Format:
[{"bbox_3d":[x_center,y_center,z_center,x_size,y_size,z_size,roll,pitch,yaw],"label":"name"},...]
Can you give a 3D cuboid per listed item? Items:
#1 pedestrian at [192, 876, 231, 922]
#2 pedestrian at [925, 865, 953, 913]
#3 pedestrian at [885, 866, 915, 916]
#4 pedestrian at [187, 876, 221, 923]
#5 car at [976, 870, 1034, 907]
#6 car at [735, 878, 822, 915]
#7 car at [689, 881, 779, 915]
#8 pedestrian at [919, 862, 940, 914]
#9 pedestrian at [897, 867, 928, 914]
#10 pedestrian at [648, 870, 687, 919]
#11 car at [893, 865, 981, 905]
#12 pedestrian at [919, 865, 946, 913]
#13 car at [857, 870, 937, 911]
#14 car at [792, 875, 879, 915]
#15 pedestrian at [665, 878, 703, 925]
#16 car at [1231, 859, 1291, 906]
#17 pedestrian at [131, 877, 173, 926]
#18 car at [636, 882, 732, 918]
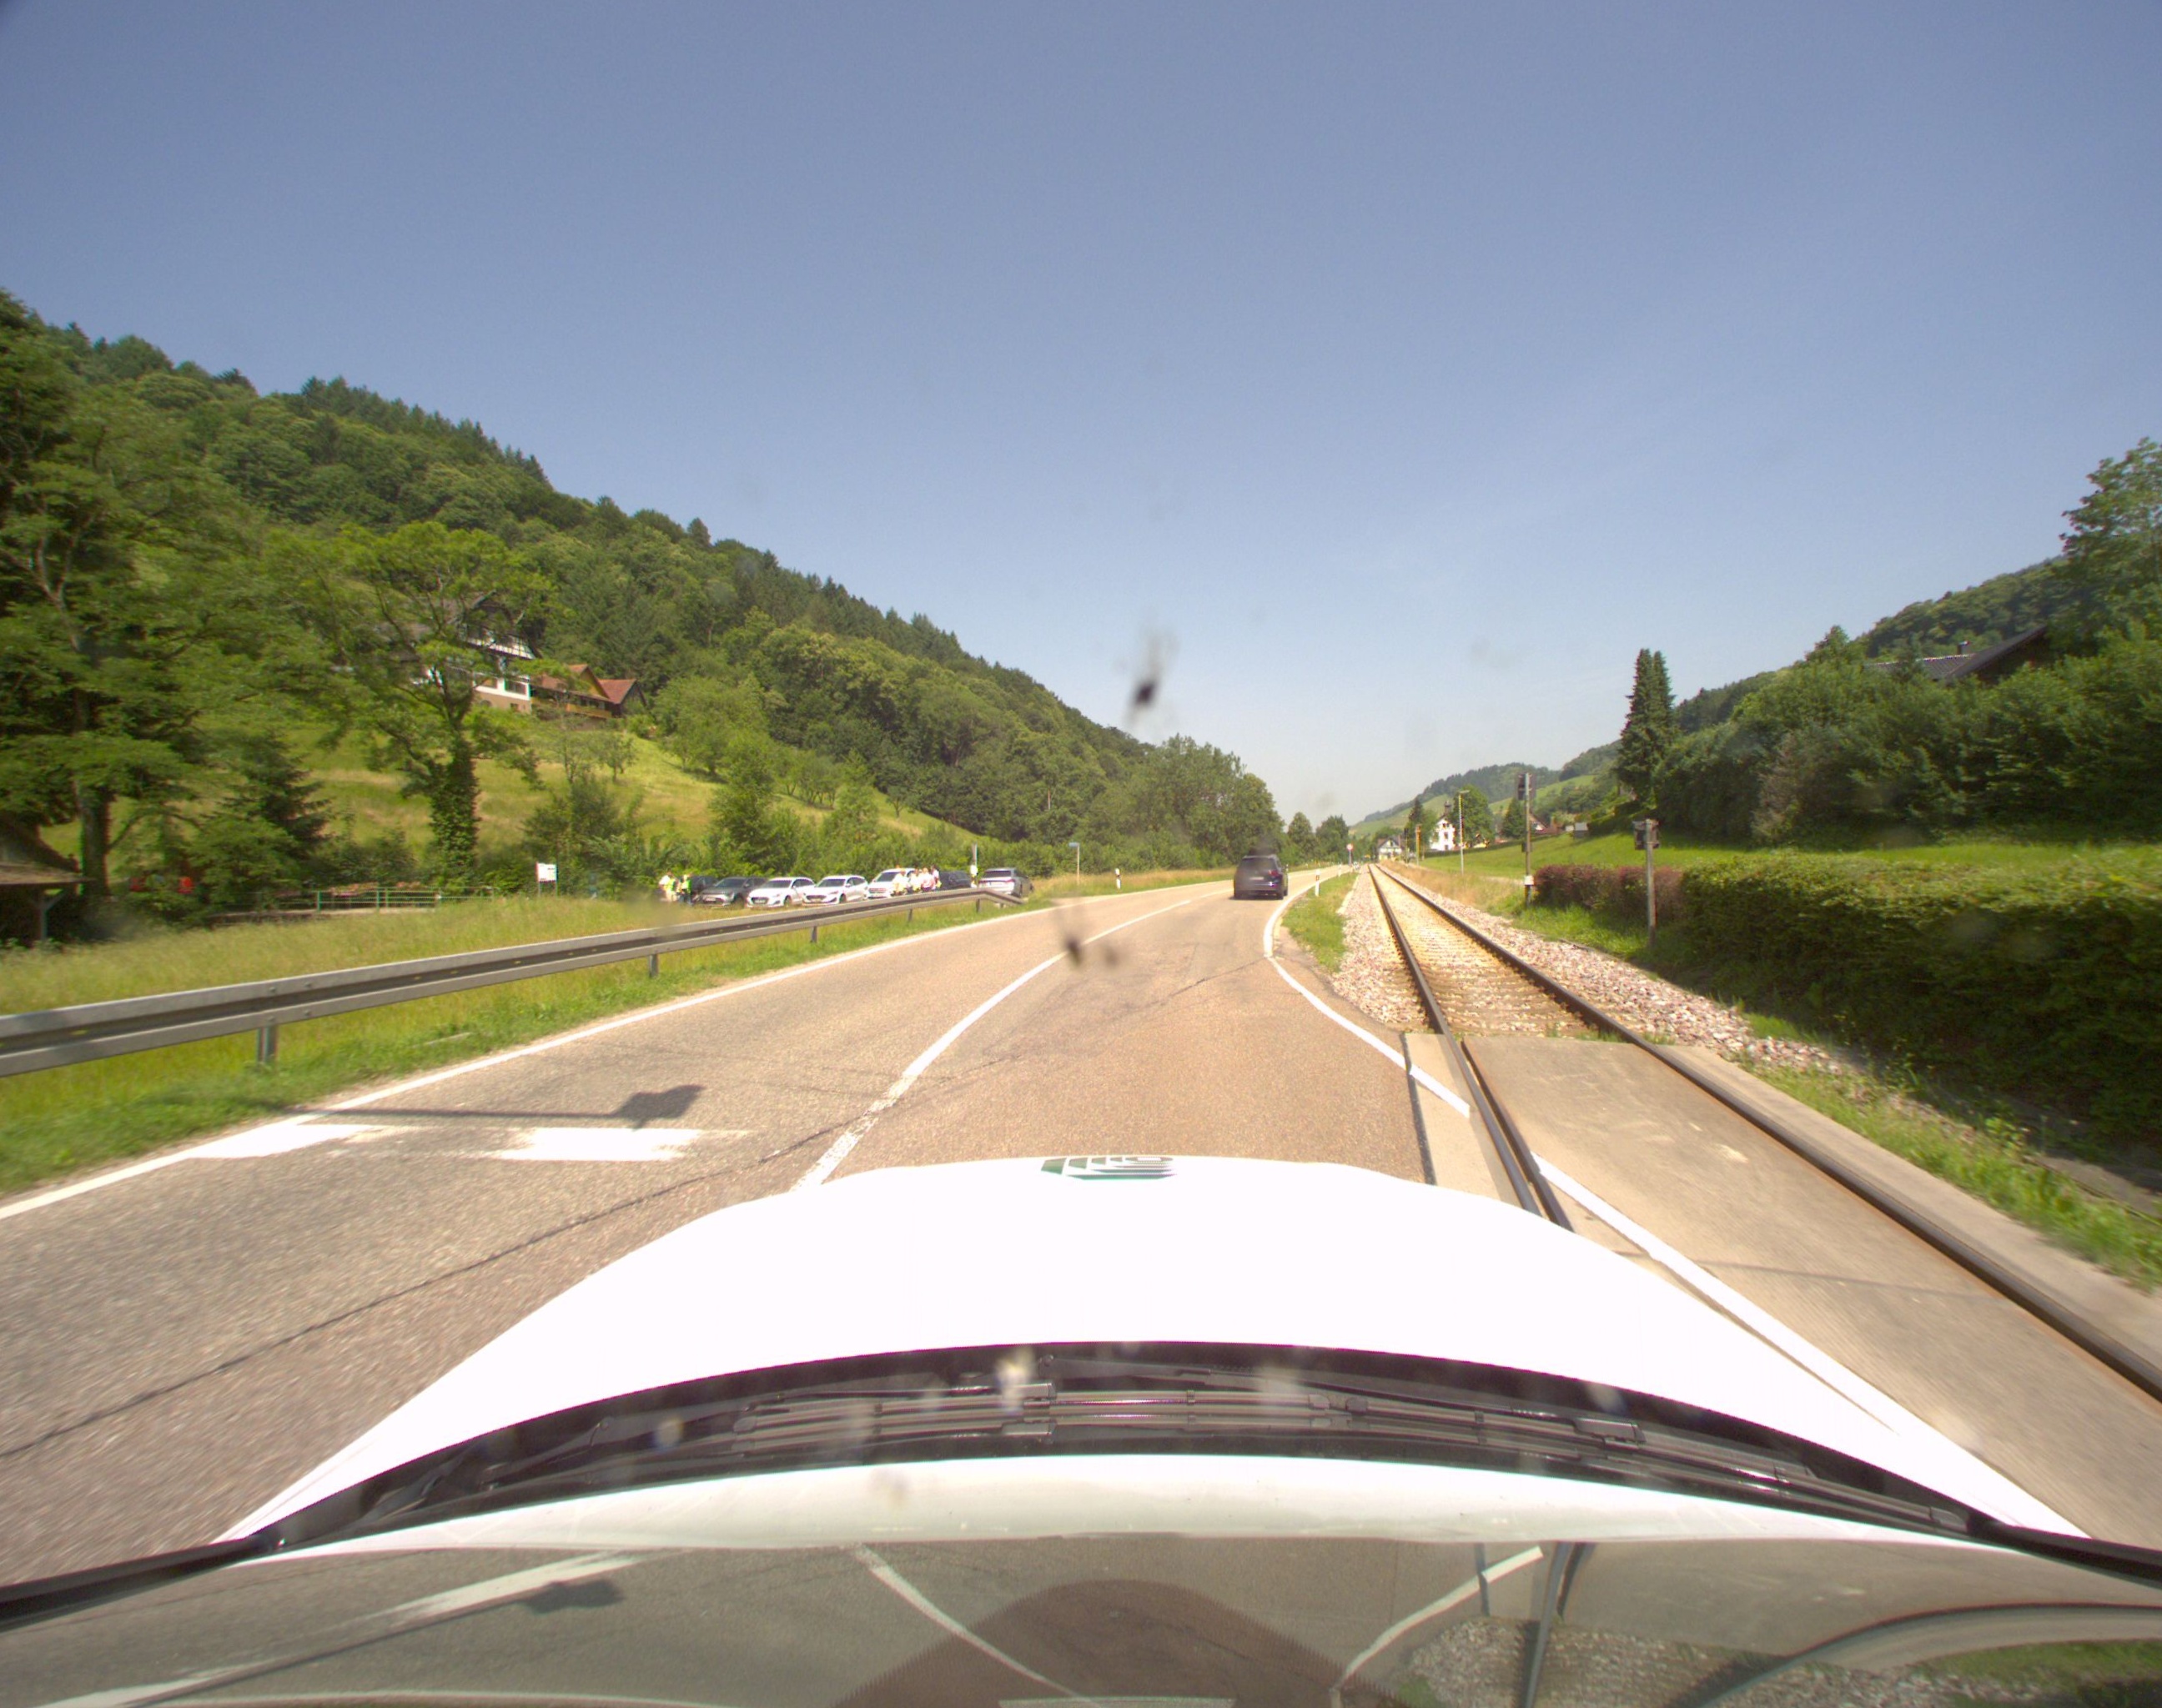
[{"bbox_3d":[-39.356,2.040,36.872,0.695,2.014,0.933,-2,-2,4],"label":"pedestrian"},{"bbox_3d":[-5.574,1.370,31.975,0.641,1.859,0.776,-4,-2,42],"label":"pedestrian"},{"bbox_3d":[-6.943,1.402,31.213,0.781,1.842,0.702,-3,-1,19],"label":"pedestrian"},{"bbox_3d":[-38.704,1.989,35.946,0.937,2.014,0.693,-1,-2,-39],"label":"pedestrian"},{"bbox_3d":[-3.358,1.525,36.865,1.818,1.501,4.282,-3,-1,4],"label":"car"},{"bbox_3d":[-14.279,1.983,38.738,1.983,1.501,4.530,-3,-1,7],"label":"car"},{"bbox_3d":[-16.638,2.083,39.351,1.983,1.501,4.530,0,-1,7],"label":"car"},{"bbox_3d":[-5.867,1.318,31.542,0.658,1.955,0.532,-3,-1,-1],"label":"pedestrian"},{"bbox_3d":[-6.640,1.431,32.057,0.761,1.796,0.799,-4,-2,35],"label":"pedestrian"},{"bbox_3d":[-17.343,1.700,34.162,1.116,1.969,0.866,-3,-2,22],"label":"pedestrian"},{"bbox_3d":[-6.530,1.375,37.562,1.978,1.652,4.642,-3,-2,18],"label":"car"},{"bbox_3d":[-5.947,1.394,32.608,0.641,1.840,0.776,-4,-2,42],"label":"pedestrian"},{"bbox_3d":[-8.712,1.688,39.016,1.858,1.782,4.787,-2,-1,12],"label":"car"},{"bbox_3d":[-11.580,1.891,38.836,1.982,1.641,4.914,-3,-1,9],"label":"car"},{"bbox_3d":[-16.077,1.910,33.014,0.950,1.794,1.001,-3,-1,3],"label":"pedestrian"},{"bbox_3d":[6.992,1.024,31.354,1.838,1.649,4.159,0,0,18],"label":"car"},{"bbox_3d":[-39.395,1.997,34.534,0.694,2.014,0.935,-3,-2,9],"label":"pedestrian"},{"bbox_3d":[-19.188,2.182,39.600,1.983,1.501,4.530,-3,-1,7],"label":"car"}]
